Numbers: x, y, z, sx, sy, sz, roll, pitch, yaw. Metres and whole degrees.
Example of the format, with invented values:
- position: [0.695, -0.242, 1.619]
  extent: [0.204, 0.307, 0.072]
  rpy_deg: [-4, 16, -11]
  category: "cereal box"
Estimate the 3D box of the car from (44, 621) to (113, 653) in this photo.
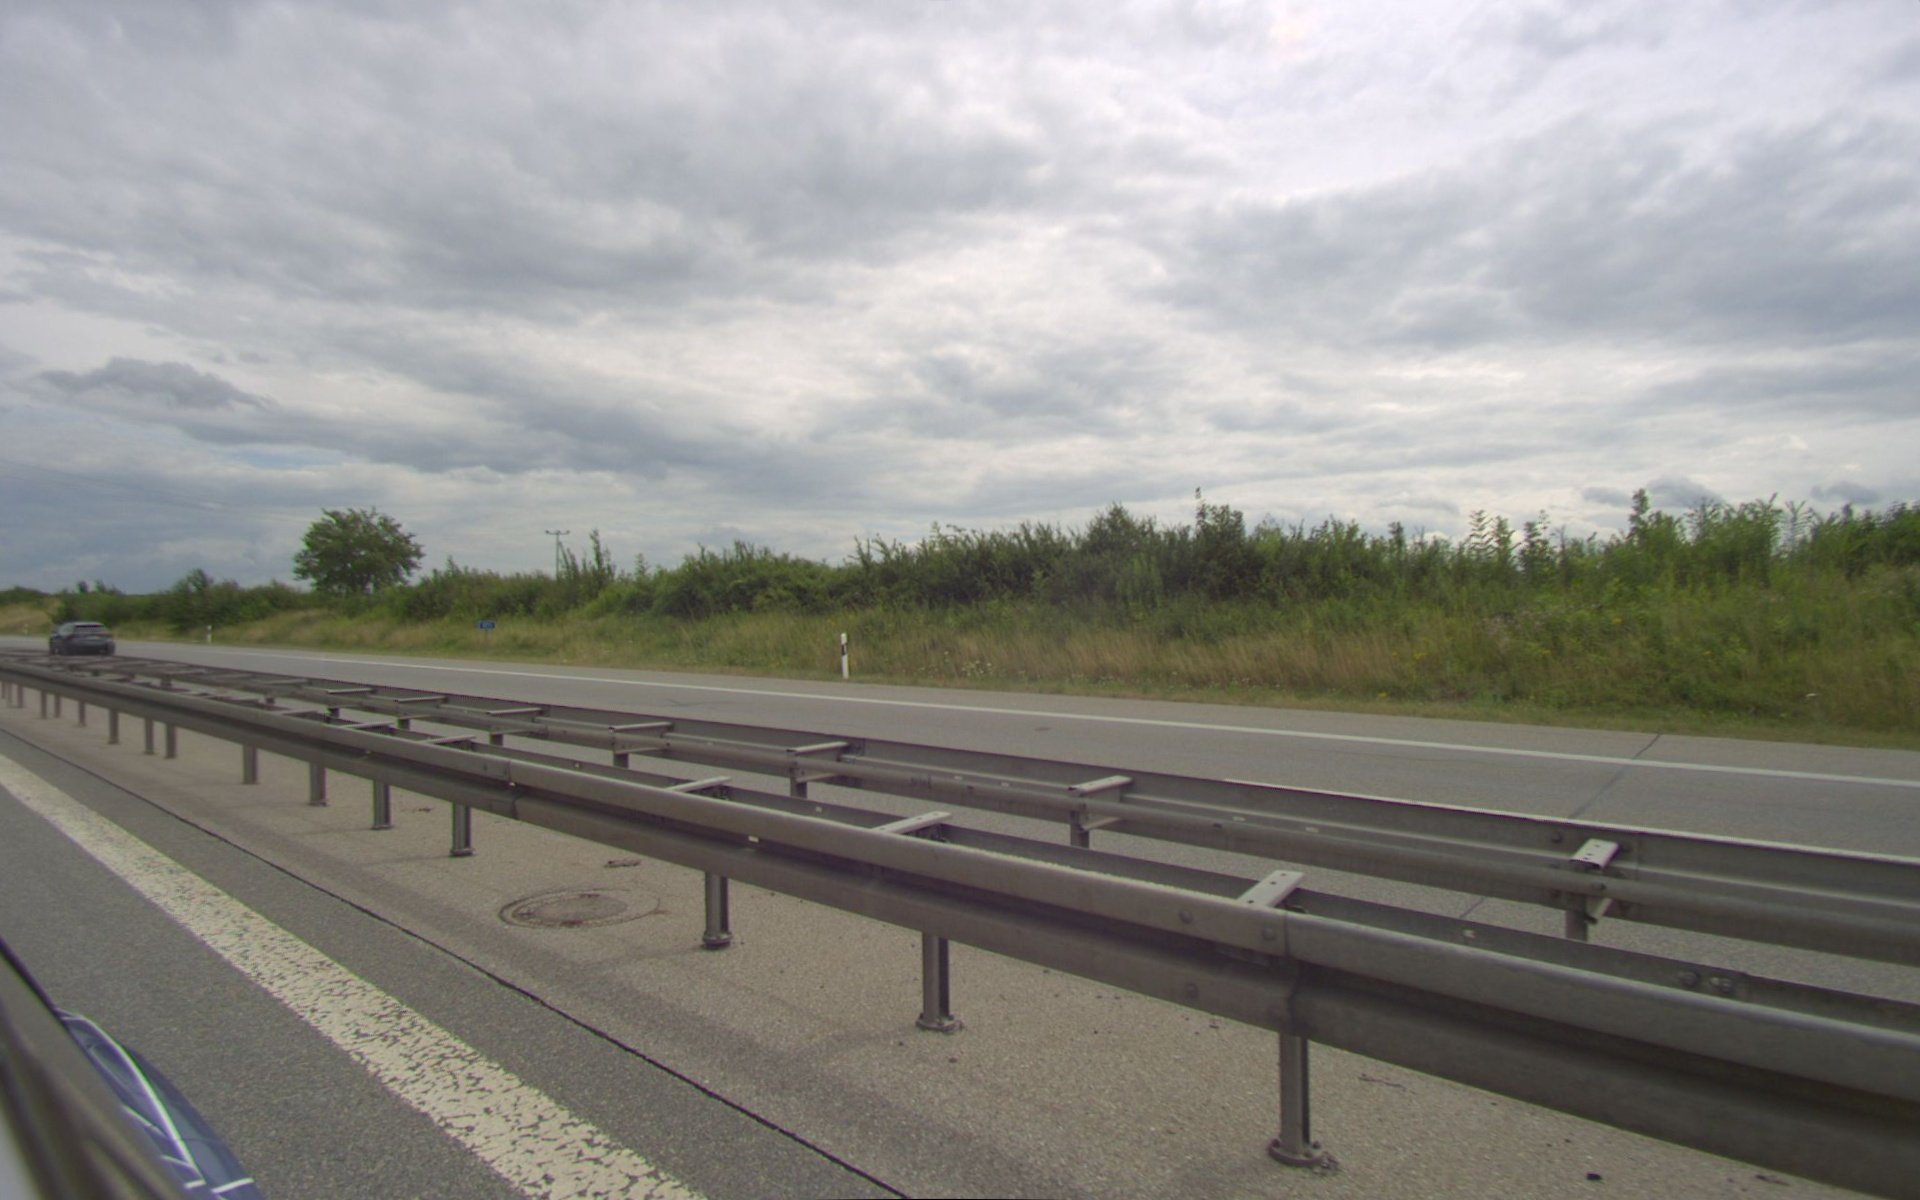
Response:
- position: [-41.810, 1.723, 47.958]
  extent: [4.934, 1.363, 1.688]
  rpy_deg: [-1, 0, 40]
  category: "car"
